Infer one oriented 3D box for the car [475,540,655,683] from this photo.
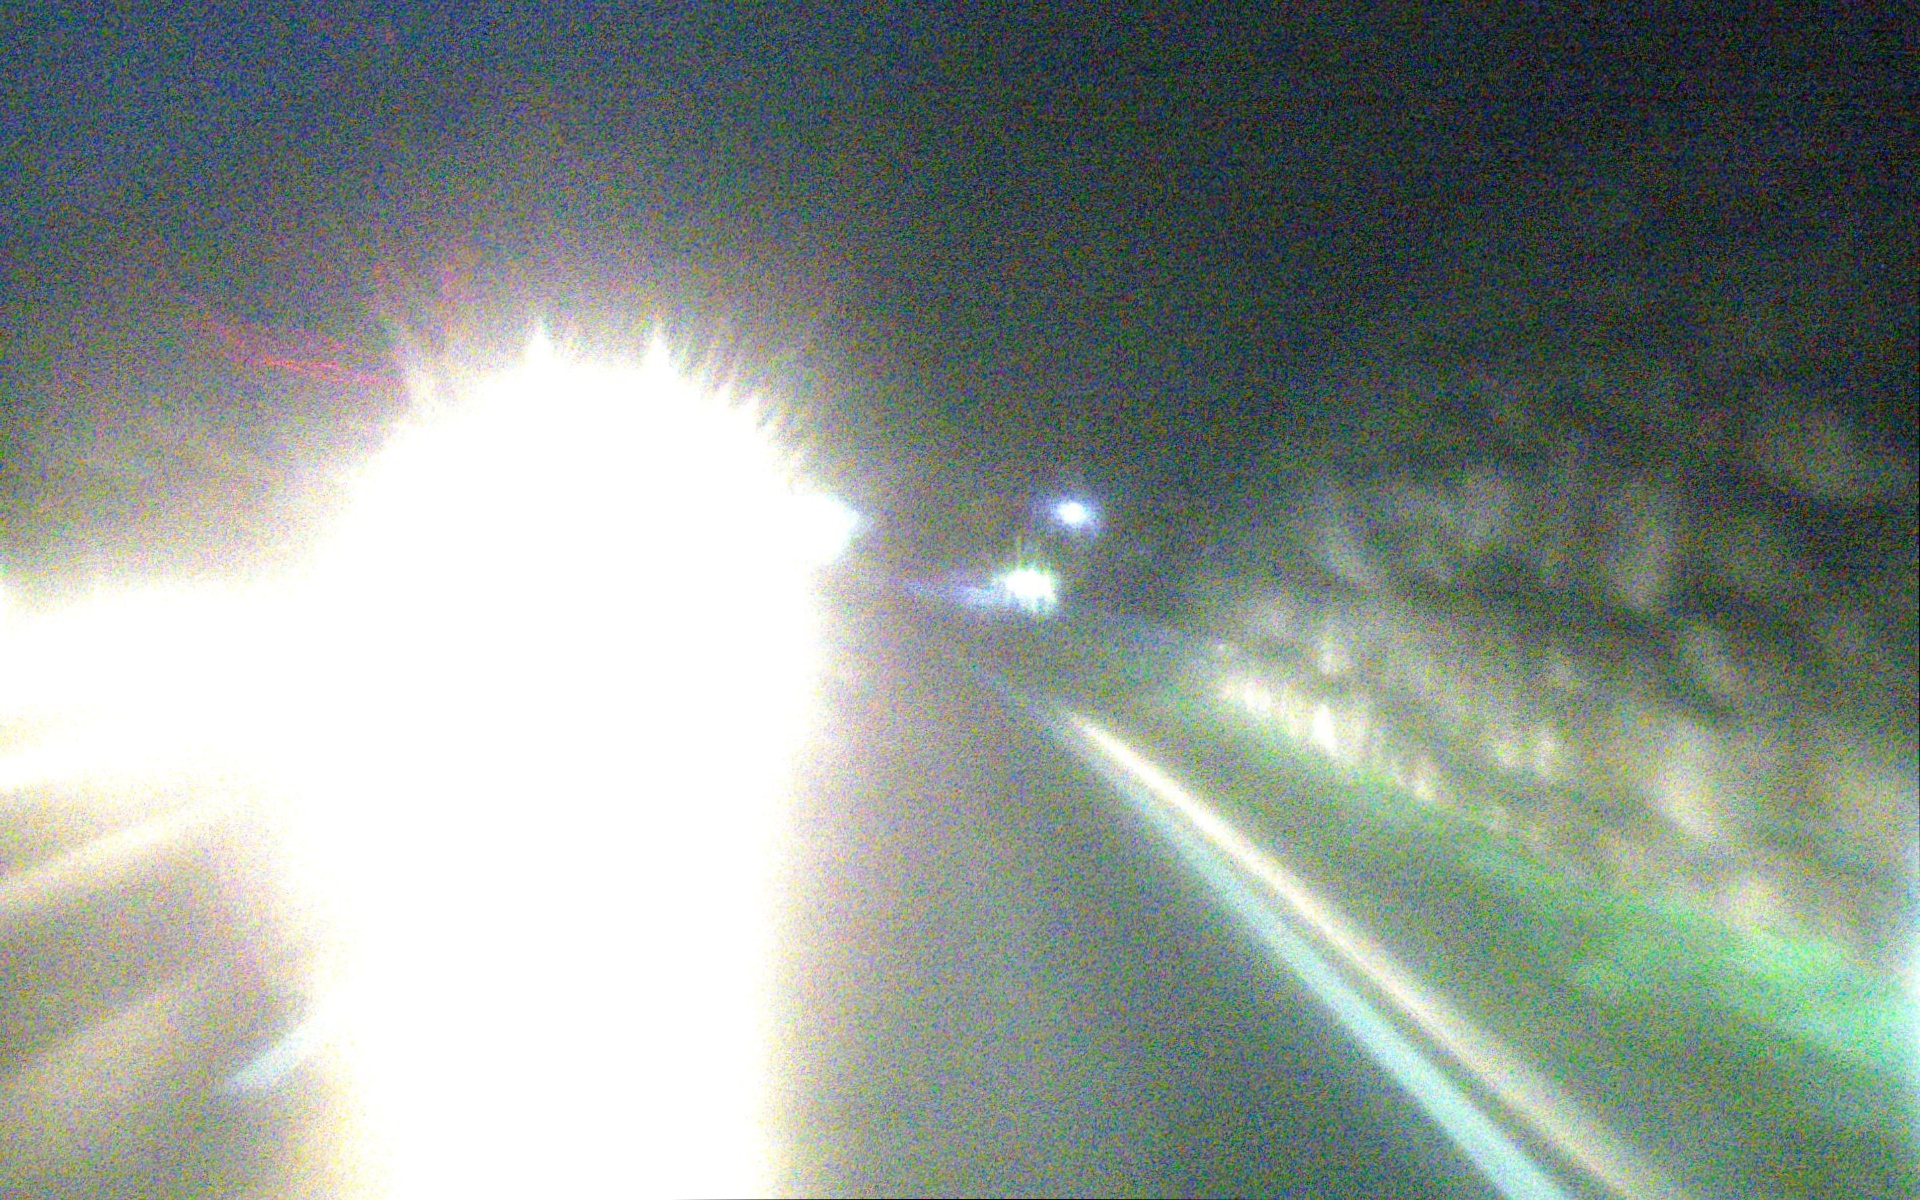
[{"bbox_3d":[-4.718,0.098,41.531,1.920,1.640,4.026,0,1,-3],"label":"car"}]
